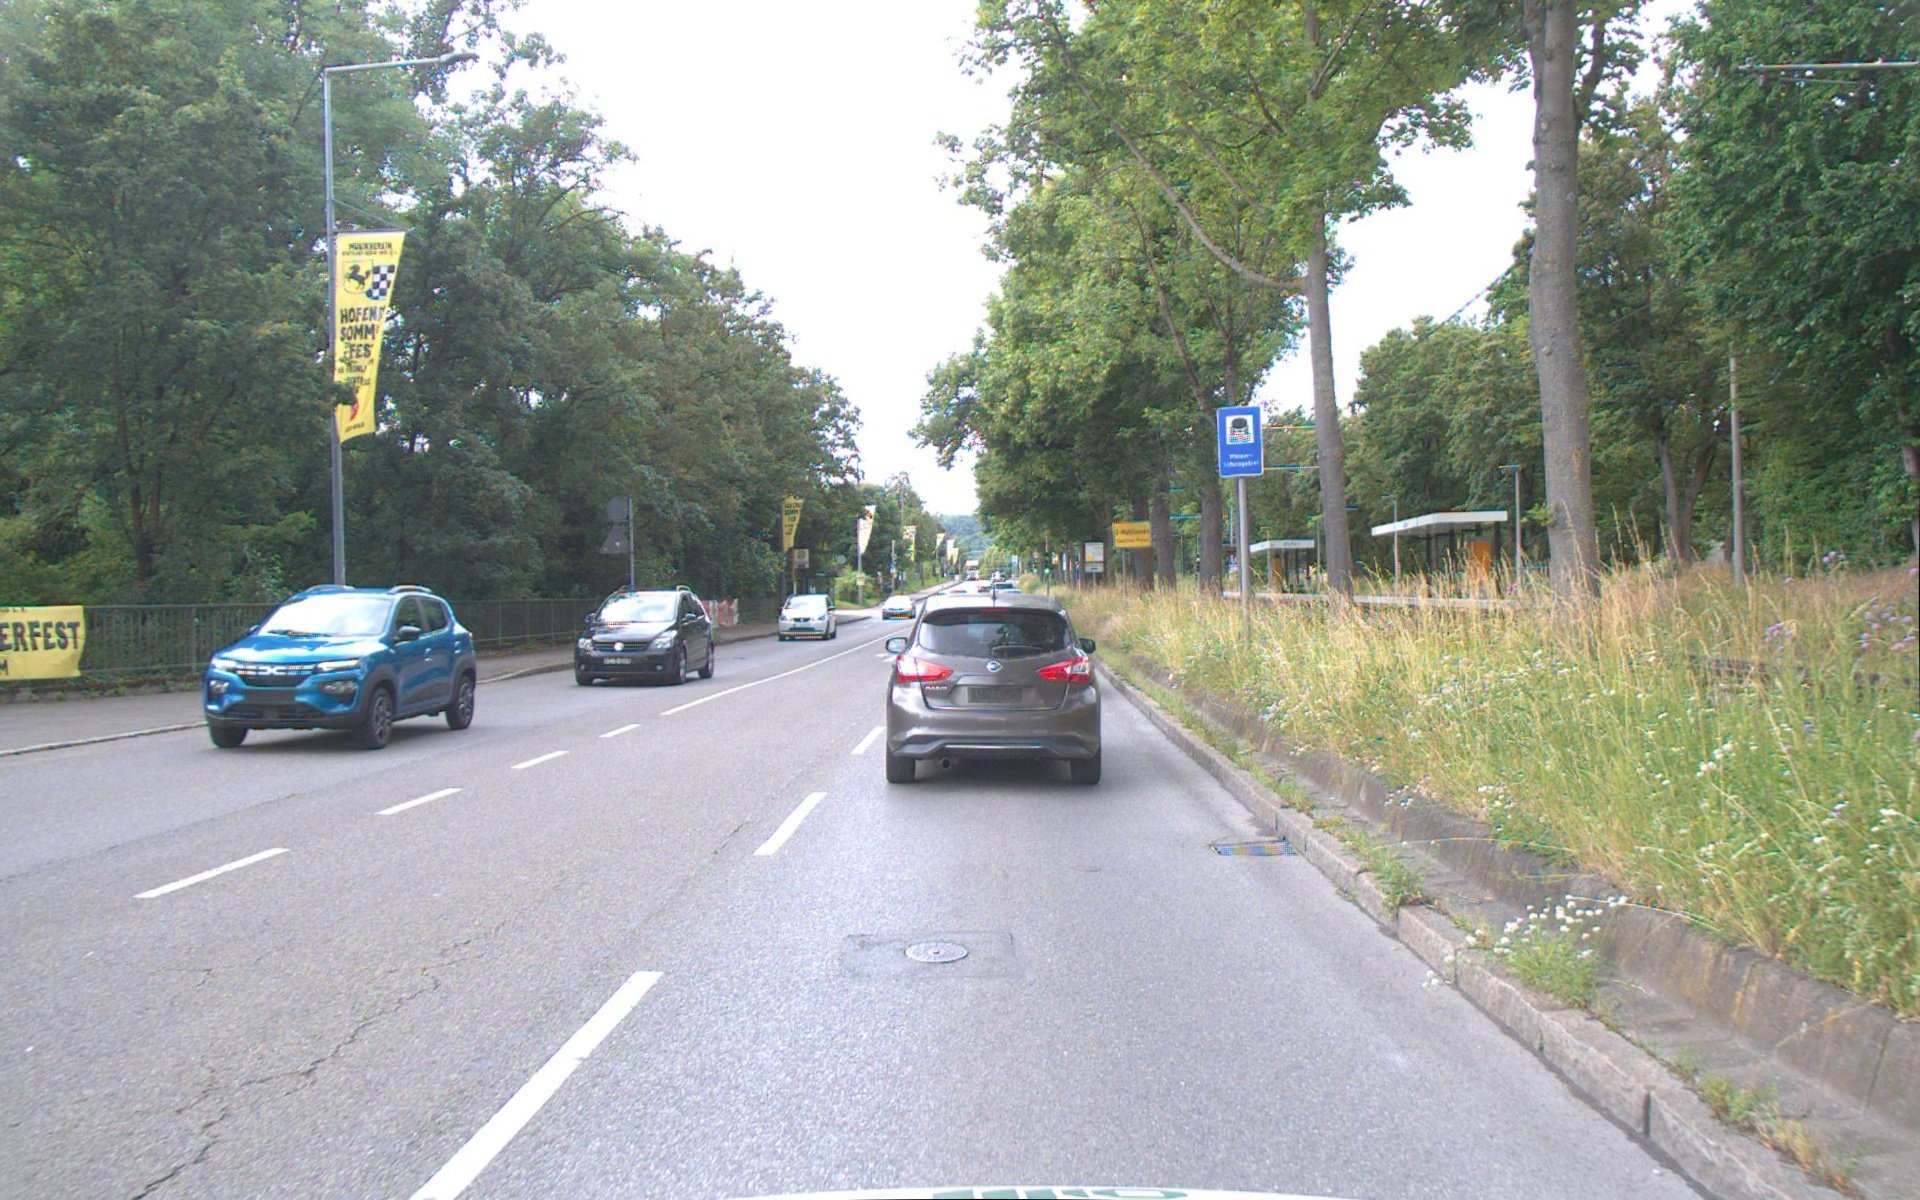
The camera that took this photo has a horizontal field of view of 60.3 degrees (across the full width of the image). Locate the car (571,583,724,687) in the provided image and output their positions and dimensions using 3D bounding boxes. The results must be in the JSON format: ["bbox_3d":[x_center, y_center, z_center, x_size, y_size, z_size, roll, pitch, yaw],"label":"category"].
[{"bbox_3d":[-5.190,0.546,27.936,1.684,1.635,4.015,0,0,2],"label":"car"}]

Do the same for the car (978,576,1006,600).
[{"bbox_3d":[2.302,-0.839,119.115,1.952,1.601,4.001,1,0,1],"label":"car"}]

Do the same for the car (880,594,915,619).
[{"bbox_3d":[-3.557,0.347,94.311,1.722,1.360,3.697,-1,0,2],"label":"car"}]

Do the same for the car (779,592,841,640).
[{"bbox_3d":[-4.888,0.509,54.186,1.548,1.491,3.697,-1,0,2],"label":"car"}]

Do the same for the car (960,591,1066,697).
[{"bbox_3d":[0.792,0.604,24.944,1.471,1.466,3.542,-1,0,1],"label":"car"}]

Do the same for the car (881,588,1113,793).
[{"bbox_3d":[0.346,0.679,14.424,1.746,1.533,3.697,1,0,2],"label":"car"}]

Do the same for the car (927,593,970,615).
[{"bbox_3d":[-0.766,0.254,107.249,1.731,1.360,3.676,-1,0,-19],"label":"car"}]

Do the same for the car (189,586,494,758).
[{"bbox_3d":[-6.036,0.637,16.590,1.548,1.511,3.697,1,0,2],"label":"car"}]

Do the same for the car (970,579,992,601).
[{"bbox_3d":[1.972,-0.973,157.658,1.953,2.049,3.999,1,0,-1],"label":"car"}]
